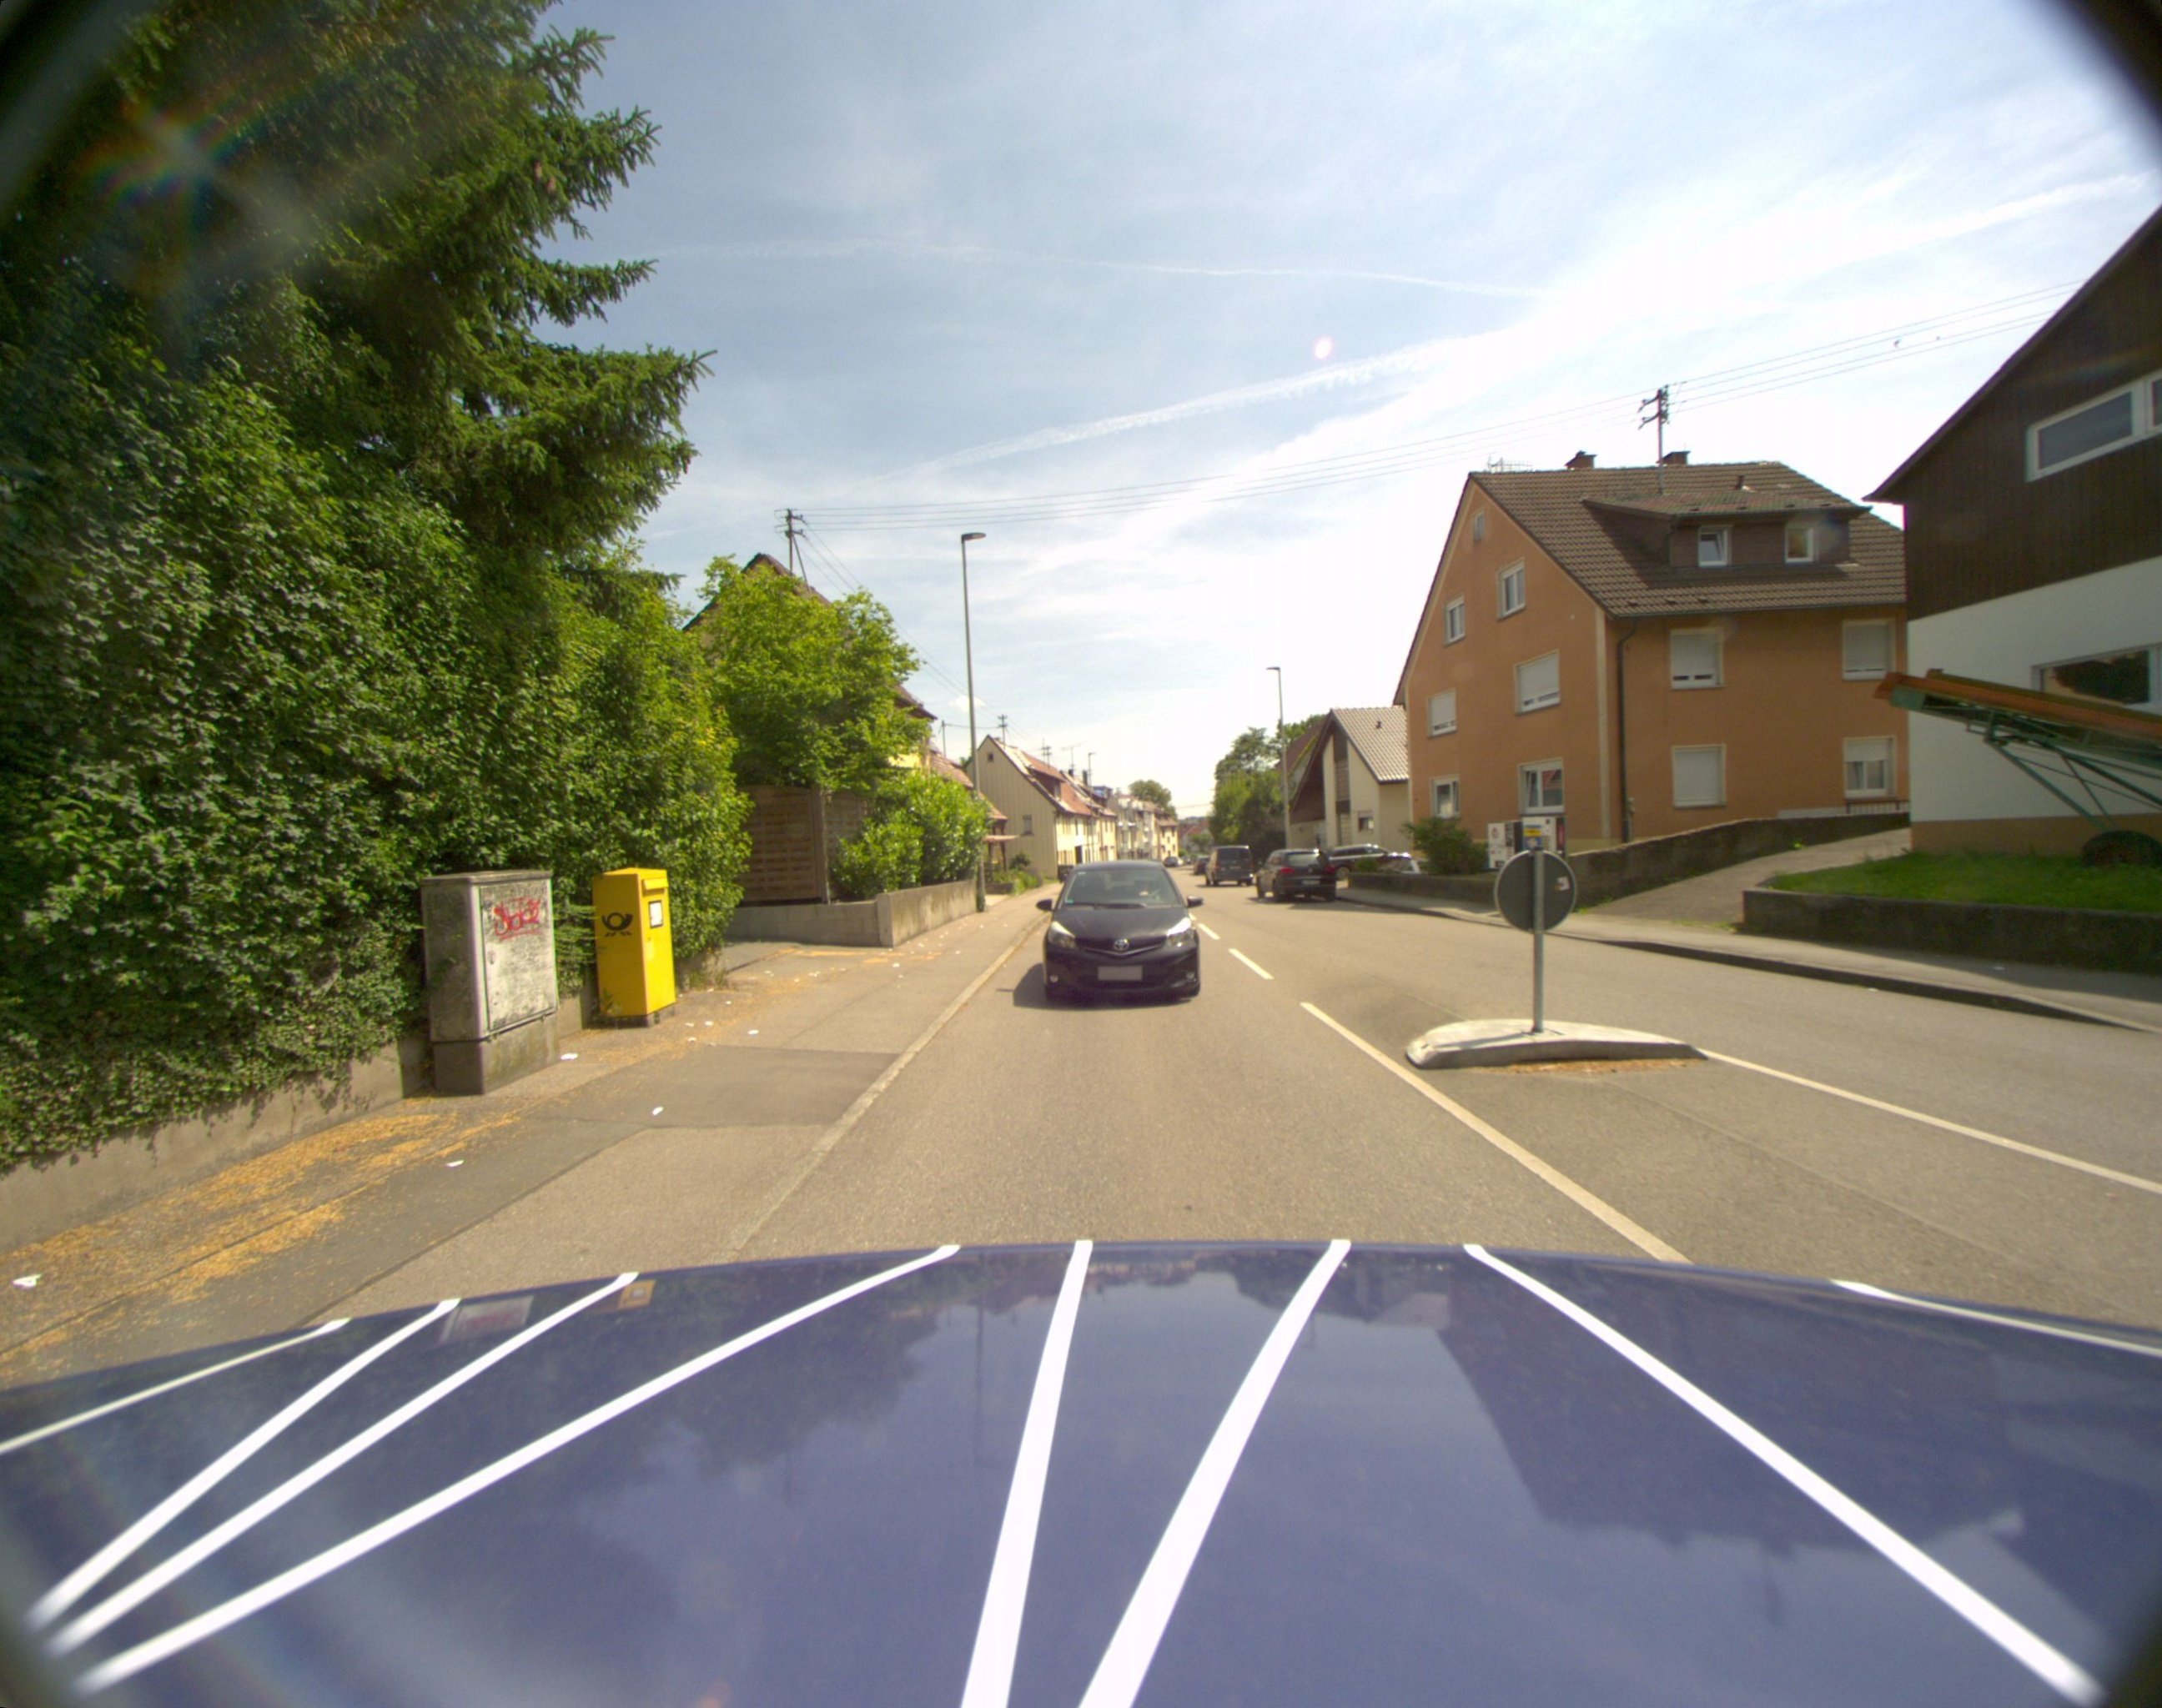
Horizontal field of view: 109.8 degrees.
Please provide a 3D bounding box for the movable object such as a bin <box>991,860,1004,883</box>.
[{"bbox_3d":[-4.289,0.888,39.000,0.536,1.151,0.549,4,1,2],"label":"movable object such as a bin"}]

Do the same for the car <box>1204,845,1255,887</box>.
[{"bbox_3d":[7.399,0.548,38.316,1.895,1.926,4.987,-1,0,4],"label":"car"}]

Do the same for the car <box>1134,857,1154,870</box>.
[{"bbox_3d":[7.444,1.083,89.094,1.797,1.394,4.416,-1,0,11],"label":"car"}]

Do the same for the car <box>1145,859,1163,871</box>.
[{"bbox_3d":[9.606,1.371,99.653,1.800,1.416,4.294,-1,1,13],"label":"car"}]

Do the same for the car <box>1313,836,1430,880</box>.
[{"bbox_3d":[12.399,0.190,32.606,4.240,1.397,1.821,-6,0,-1],"label":"car"}]

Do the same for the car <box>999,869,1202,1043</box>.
[{"bbox_3d":[0.505,0.940,8.880,1.724,1.448,4.433,-1,-1,10],"label":"car"}]

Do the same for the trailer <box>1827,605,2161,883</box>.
[{"bbox_3d":[11.938,-1.161,8.155,1.716,2.832,6.174,-3,0,0],"label":"trailer"}]

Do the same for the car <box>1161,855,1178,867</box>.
[{"bbox_3d":[13.049,1.044,111.827,1.956,1.706,4.721,-2,0,14],"label":"car"}]

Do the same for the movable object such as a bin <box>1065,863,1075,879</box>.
[{"bbox_3d":[-0.708,1.112,49.122,0.547,1.027,0.552,1,0,7],"label":"movable object such as a bin"}]

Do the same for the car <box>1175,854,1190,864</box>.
[{"bbox_3d":[16.150,0.782,121.196,1.791,1.447,4.721,-2,0,14],"label":"car"}]

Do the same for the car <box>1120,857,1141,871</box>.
[{"bbox_3d":[5.047,0.976,76.864,1.669,1.344,4.190,-2,0,9],"label":"car"}]

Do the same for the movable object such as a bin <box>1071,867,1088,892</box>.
[{"bbox_3d":[-0.060,1.050,31.338,0.494,1.027,0.549,2,1,28],"label":"movable object such as a bin"}]

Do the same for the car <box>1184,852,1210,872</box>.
[{"bbox_3d":[9.124,0.600,59.994,1.822,1.464,4.778,-2,0,7],"label":"car"}]

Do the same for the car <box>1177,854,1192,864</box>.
[{"bbox_3d":[17.461,0.828,127.897,1.791,1.412,4.363,-2,0,17],"label":"car"}]

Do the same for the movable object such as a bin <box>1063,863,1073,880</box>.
[{"bbox_3d":[-0.821,1.080,47.612,0.547,1.027,0.552,1,0,7],"label":"movable object such as a bin"}]

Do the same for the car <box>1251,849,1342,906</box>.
[{"bbox_3d":[6.796,0.687,24.443,1.773,1.626,4.288,-1,0,1],"label":"car"}]
